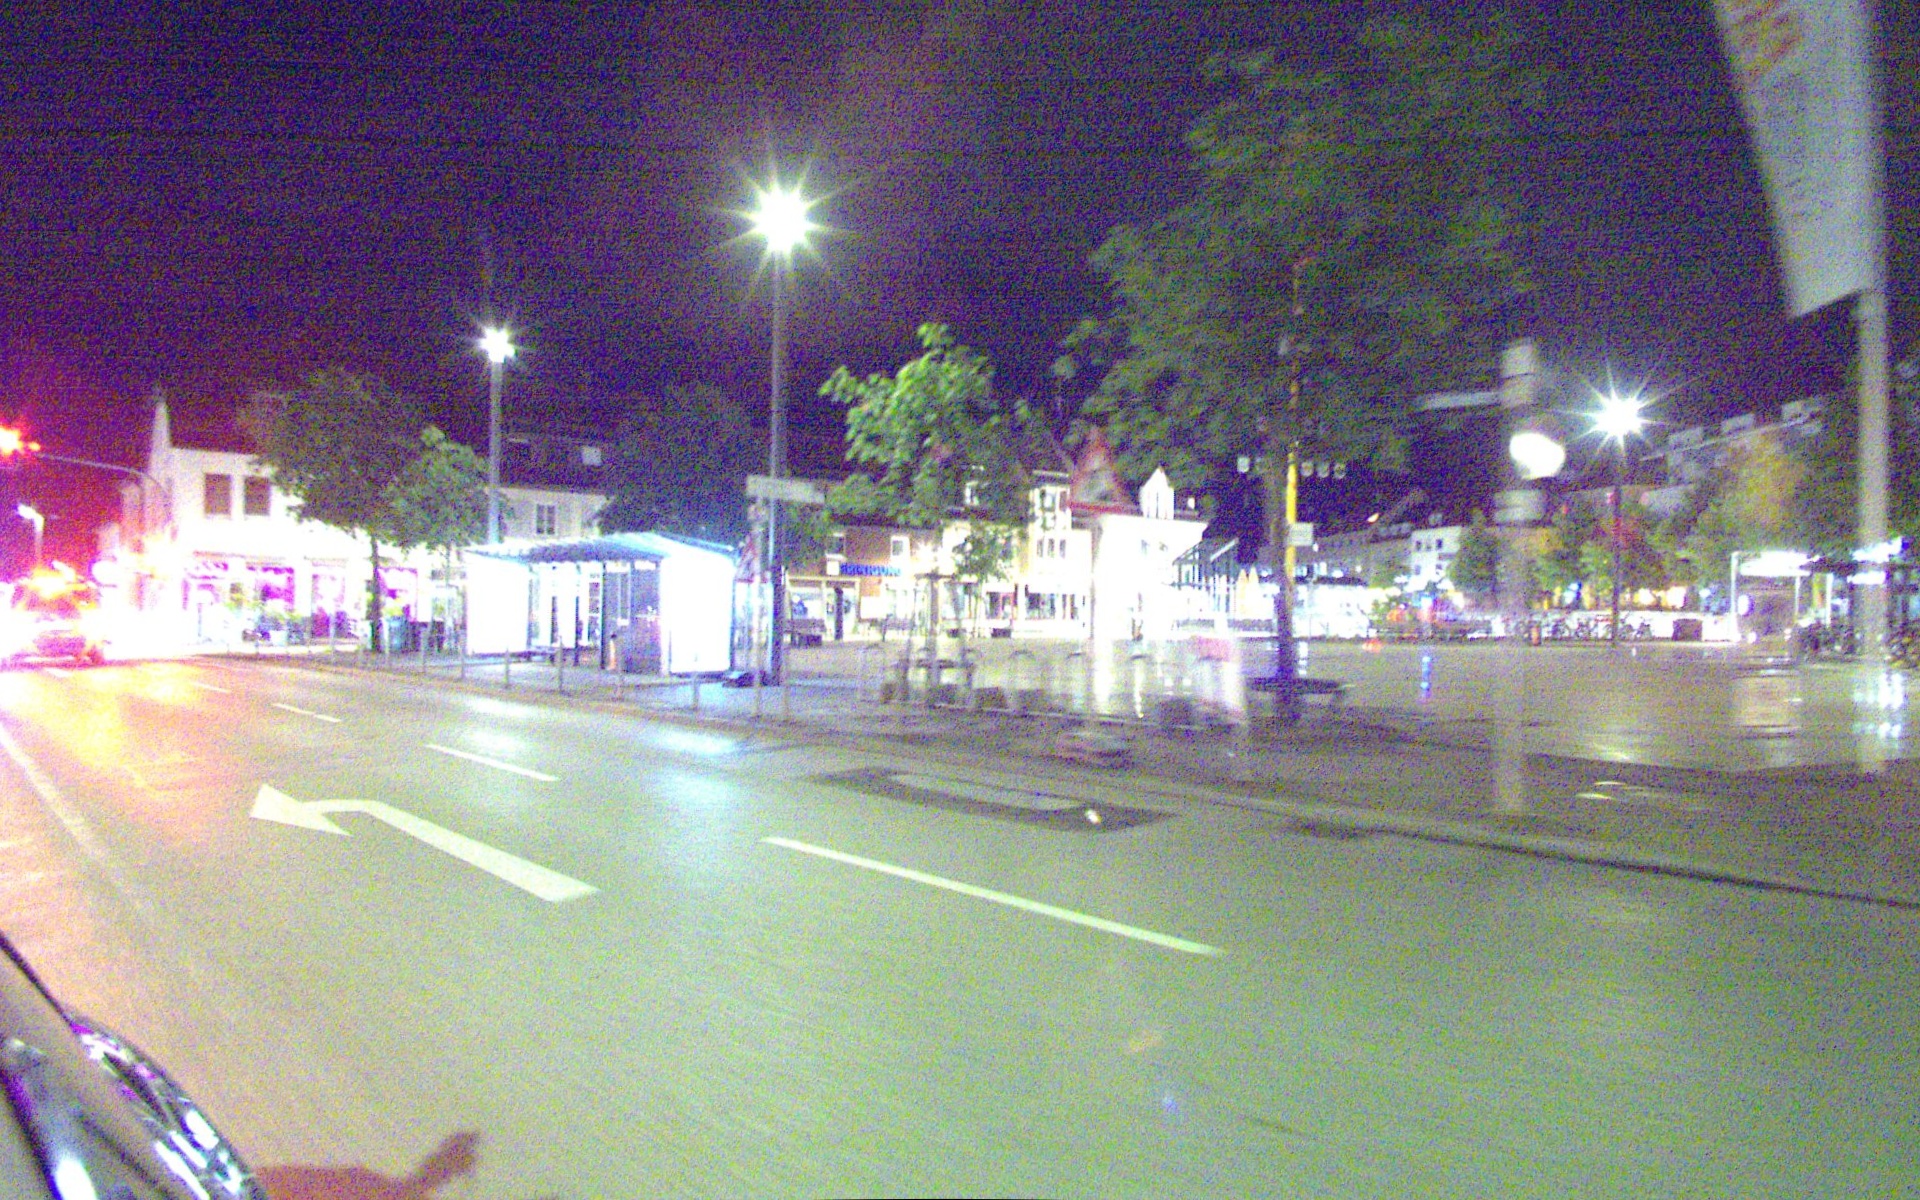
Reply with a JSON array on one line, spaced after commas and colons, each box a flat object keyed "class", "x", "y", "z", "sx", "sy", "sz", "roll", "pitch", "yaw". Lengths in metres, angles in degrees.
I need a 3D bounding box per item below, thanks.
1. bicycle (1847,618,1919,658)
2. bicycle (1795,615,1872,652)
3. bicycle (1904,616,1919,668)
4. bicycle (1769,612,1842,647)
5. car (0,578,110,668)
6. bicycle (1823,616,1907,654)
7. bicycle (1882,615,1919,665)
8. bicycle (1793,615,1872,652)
[{"class": "bicycle", "x": 23.112, "y": 0.931, "z": 25.155, "sx": 1.526, "sy": 0.965, "sz": 0.476, "roll": 0, "pitch": 0, "yaw": 27}, {"class": "bicycle", "x": 24.037, "y": 0.911, "z": 27.876, "sx": 1.526, "sy": 0.965, "sz": 0.476, "roll": 0, "pitch": 0, "yaw": 27}, {"class": "bicycle", "x": 18.841, "y": 0.793, "z": 19.023, "sx": 1.526, "sy": 0.965, "sz": 0.476, "roll": 0, "pitch": 0, "yaw": 27}, {"class": "bicycle", "x": 24.136, "y": 0.834, "z": 28.909, "sx": 1.526, "sy": 0.965, "sz": 0.476, "roll": 0, "pitch": 0, "yaw": 27}, {"class": "car", "x": -21.612, "y": 0.502, "z": 23.595, "sx": 4.908, "sy": 1.886, "sz": 1.946, "roll": 0, "pitch": -1, "yaw": 40}, {"class": "bicycle", "x": 23.253, "y": 0.888, "z": 26.017, "sx": 1.526, "sy": 0.965, "sz": 0.476, "roll": 0, "pitch": 0, "yaw": 27}, {"class": "bicycle", "x": 19.215, "y": 0.785, "z": 19.887, "sx": 1.526, "sy": 0.965, "sz": 0.476, "roll": 0, "pitch": 0, "yaw": 27}, {"class": "bicycle", "x": 23.468, "y": 0.895, "z": 27.238, "sx": 1.526, "sy": 0.965, "sz": 0.476, "roll": 0, "pitch": 0, "yaw": 27}]
